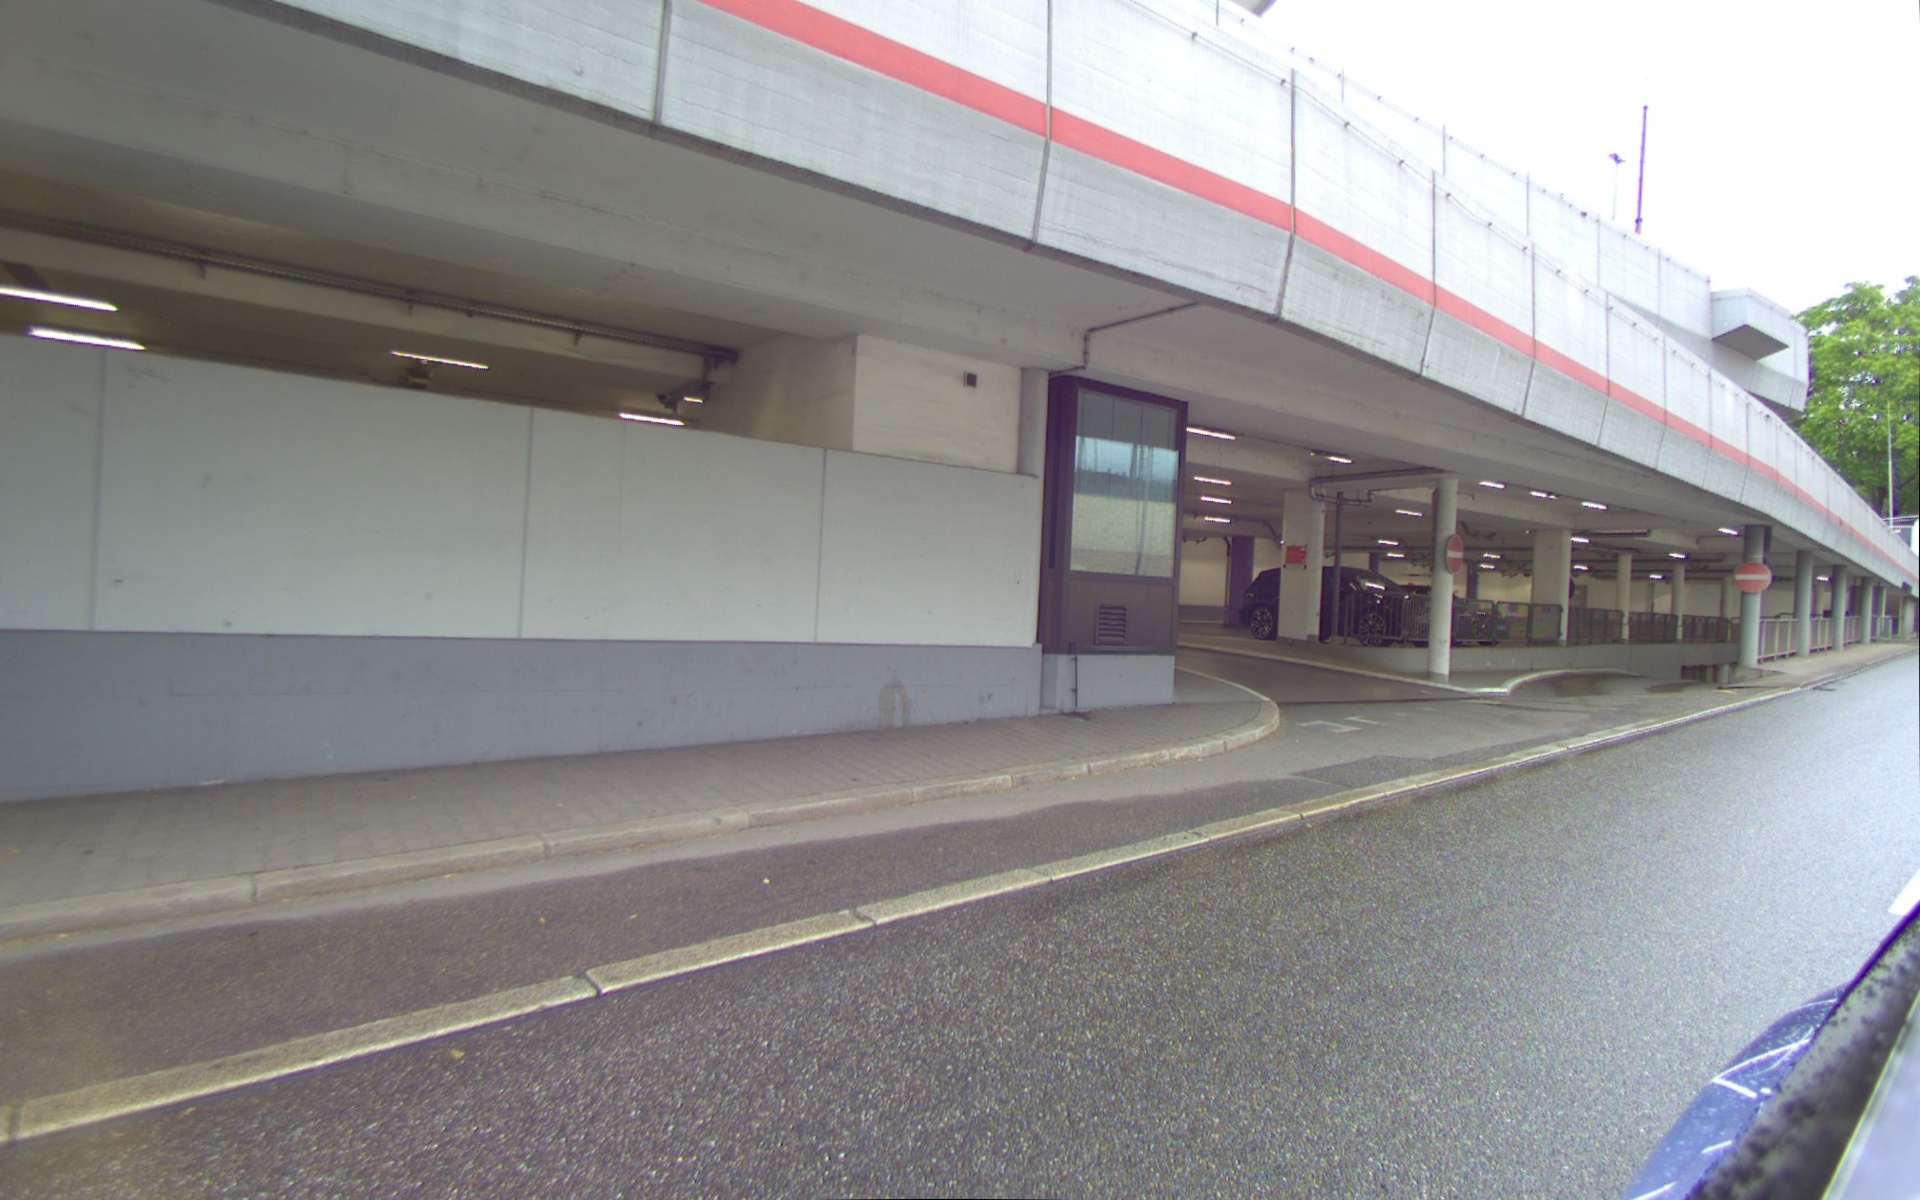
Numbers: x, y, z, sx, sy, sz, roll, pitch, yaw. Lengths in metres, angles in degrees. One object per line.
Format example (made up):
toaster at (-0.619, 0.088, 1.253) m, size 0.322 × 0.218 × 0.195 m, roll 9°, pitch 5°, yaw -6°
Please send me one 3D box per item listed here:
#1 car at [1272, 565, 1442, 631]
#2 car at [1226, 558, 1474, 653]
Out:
car at (10.379, -0.080, 26.648) m, size 1.775 × 1.524 × 3.732 m, roll 2°, pitch 1°, yaw -40°
car at (8.069, 0.043, 21.354) m, size 1.788 × 1.660 × 4.591 m, roll 1°, pitch 2°, yaw -37°
